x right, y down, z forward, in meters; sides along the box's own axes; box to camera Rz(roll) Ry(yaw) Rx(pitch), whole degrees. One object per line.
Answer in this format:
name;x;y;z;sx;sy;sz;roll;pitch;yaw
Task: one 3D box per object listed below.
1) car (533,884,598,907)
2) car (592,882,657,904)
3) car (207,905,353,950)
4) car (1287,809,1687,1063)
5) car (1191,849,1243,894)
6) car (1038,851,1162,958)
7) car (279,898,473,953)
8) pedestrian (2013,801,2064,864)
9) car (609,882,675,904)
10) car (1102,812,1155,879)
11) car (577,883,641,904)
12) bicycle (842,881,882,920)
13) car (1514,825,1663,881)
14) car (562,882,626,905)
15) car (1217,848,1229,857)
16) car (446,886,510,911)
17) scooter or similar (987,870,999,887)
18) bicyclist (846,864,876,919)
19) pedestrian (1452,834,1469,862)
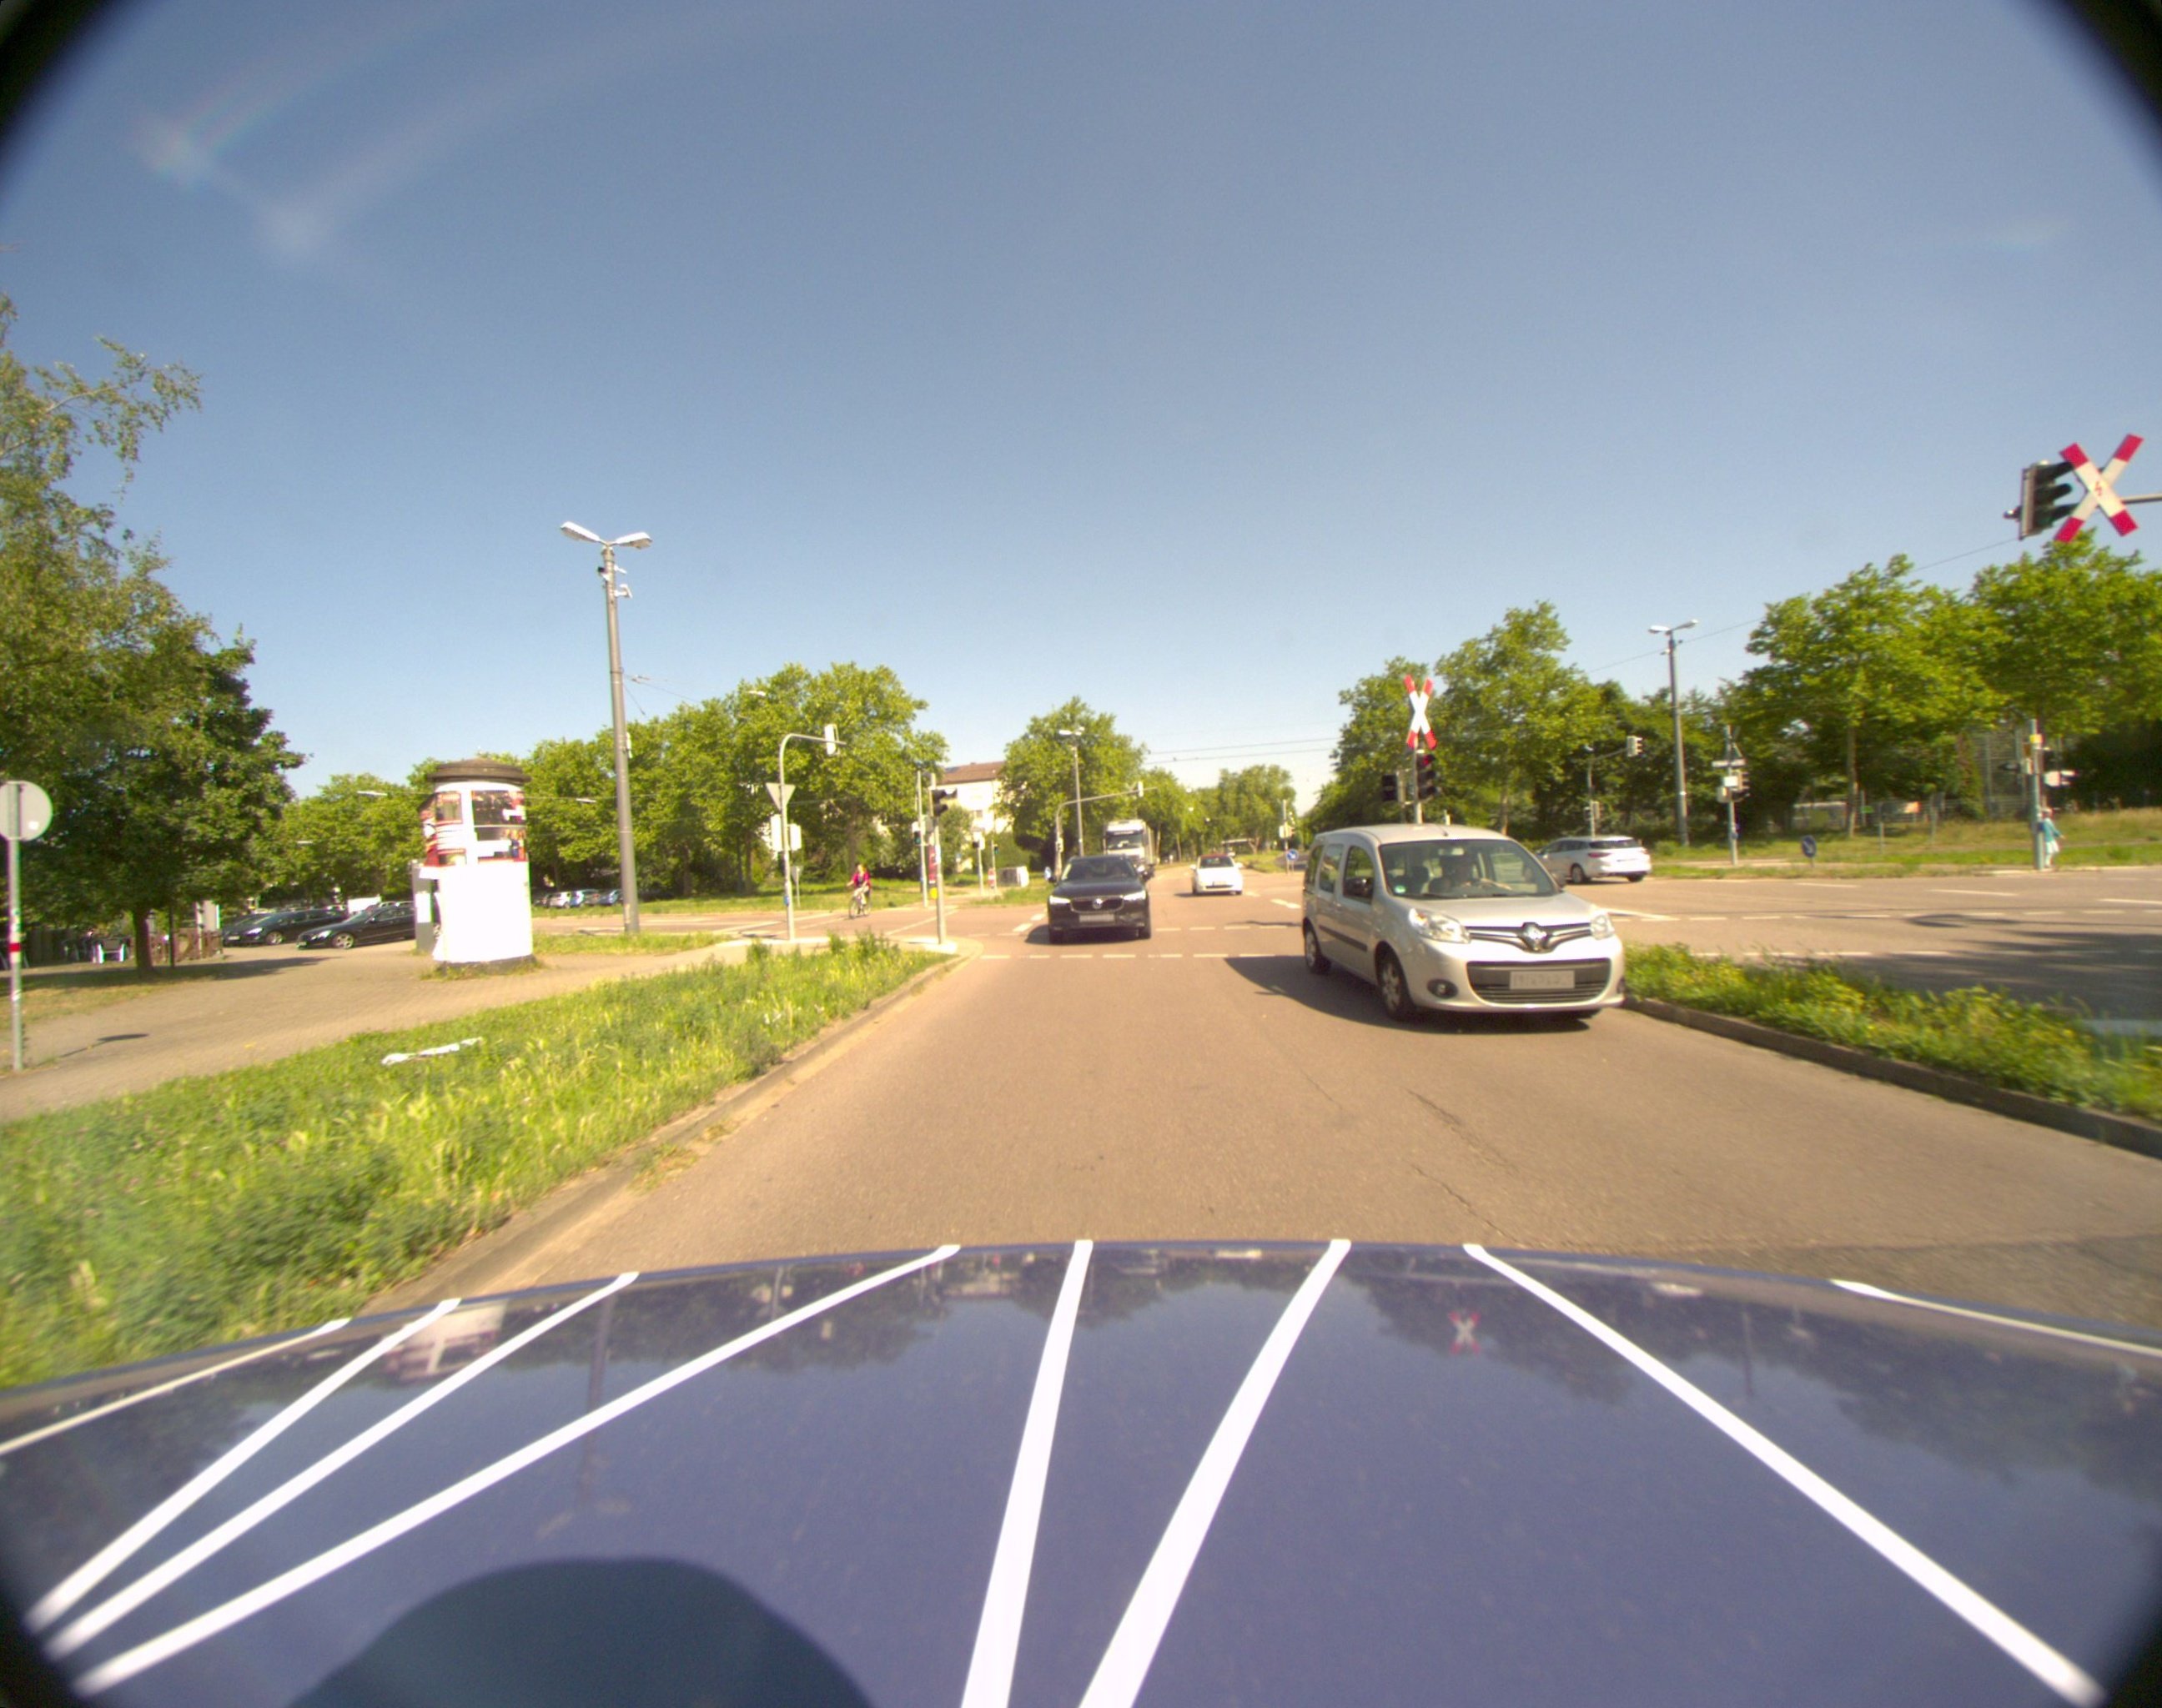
car;-45.739;3.653;67.530;1.996;1.623;4.360;-3;0;20
car;-38.544;3.299;64.333;1.996;1.482;4.360;-3;0;20
car;-36.949;3.362;35.232;2.141;1.490;4.206;-4;0;2
car;3.613;0.599;7.845;1.876;1.829;4.375;-2;1;2
car;5.087;0.590;28.544;1.688;1.482;4.378;-3;0;10
car;0.444;0.815;14.677;1.904;1.605;4.874;-4;0;3
car;-27.807;2.789;30.241;2.138;1.490;5.125;-3;1;23
pedestrian;24.103;-0.534;19.137;0.366;1.552;0.668;-3;1;-14
car;-36.294;3.201;62.923;1.996;1.482;4.360;-3;1;20
car;3.213;-0.534;49.620;2.901;3.898;7.144;-3;0;6
car;-40.724;3.367;65.706;1.996;1.482;4.360;-3;0;20
bicycle;-7.398;1.550;25.723;0.693;1.178;2.125;-3;0;-1
car;15.727;-0.049;23.877;1.698;1.499;4.662;-3;0;3
car;-42.928;3.472;67.088;1.996;1.623;4.360;-5;0;20
car;34.106;-0.301;182.054;1.996;2.002;4.005;-3;0;21
car;-60.836;4.467;76.764;1.996;2.196;4.596;-3;0;20
scooter or similar;-6.420;1.792;55.452;0.517;1.135;1.444;-5;1;-19
bicyclist;-7.424;1.243;25.682;0.702;1.776;0.810;-3;1;-2
pedestrian;21.033;-0.315;42.077;0.607;1.525;0.568;-3;1;2
